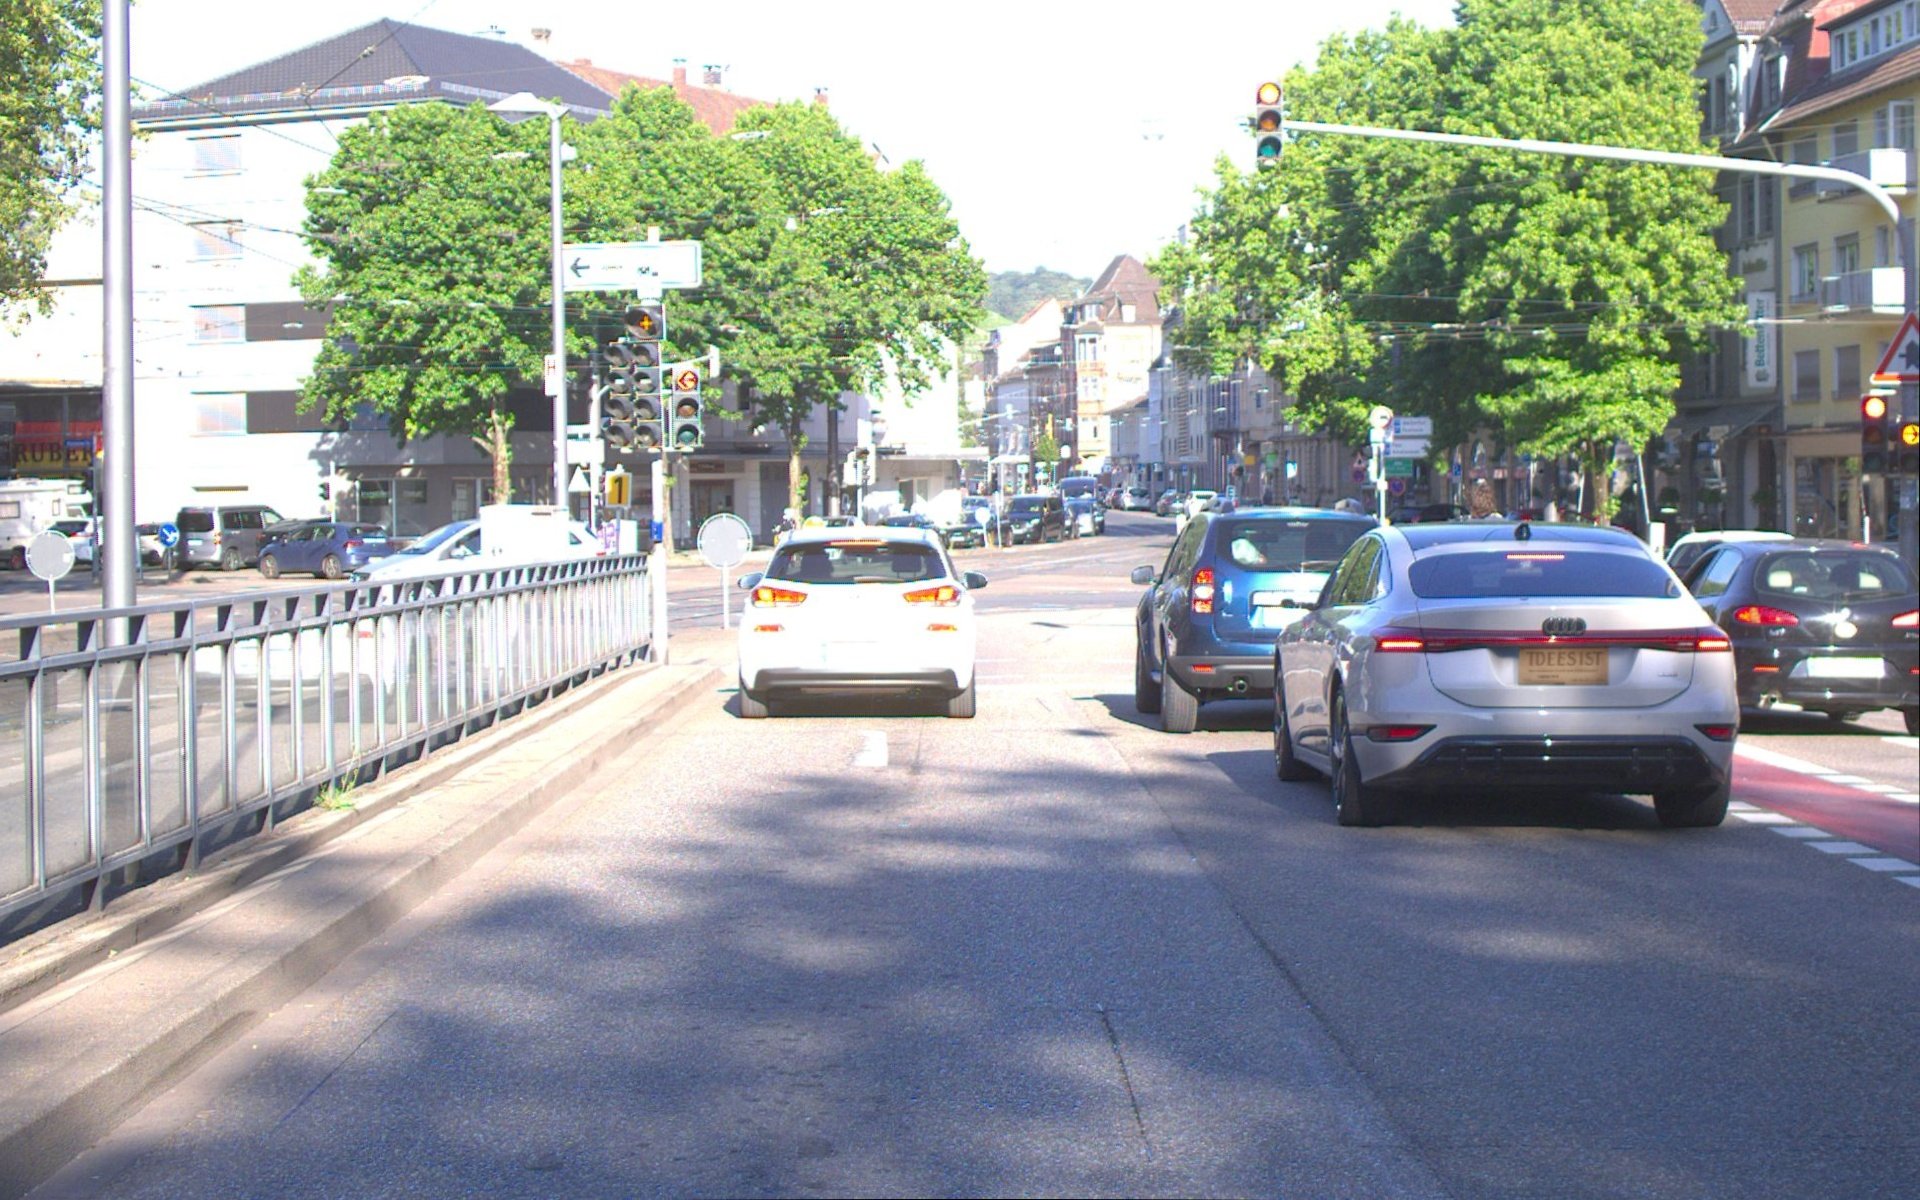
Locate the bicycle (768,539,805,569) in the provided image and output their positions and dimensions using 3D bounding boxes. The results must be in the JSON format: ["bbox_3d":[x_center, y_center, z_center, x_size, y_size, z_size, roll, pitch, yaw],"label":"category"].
[{"bbox_3d":[-5.516,-1.475,109.570,0.468,0.953,1.765,0,1,23],"label":"bicycle"}]

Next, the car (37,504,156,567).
[{"bbox_3d":[-27.278,-2.050,108.713,1.796,1.949,3.997,0,1,18],"label":"car"}]

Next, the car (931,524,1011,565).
[{"bbox_3d":[0.440,-2.063,127.982,1.796,1.505,3.996,0,1,18],"label":"car"}]

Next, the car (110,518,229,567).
[{"bbox_3d":[-24.767,-1.813,107.815,1.796,1.505,4.007,0,1,18],"label":"car"}]

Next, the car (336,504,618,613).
[{"bbox_3d":[-7.745,-0.665,55.120,4.146,1.686,1.822,0,1,-24],"label":"car"}]

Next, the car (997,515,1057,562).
[{"bbox_3d":[2.656,-2.441,135.408,1.795,1.820,3.999,0,1,10],"label":"car"}]

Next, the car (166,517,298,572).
[{"bbox_3d":[-22.382,-1.711,105.798,1.797,1.643,4.004,0,2,29],"label":"car"}]

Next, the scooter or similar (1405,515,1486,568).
[{"bbox_3d":[11.791,-1.417,83.537,1.949,1.276,0.552,1,2,41],"label":"scooter or similar"}]

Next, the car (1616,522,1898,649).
[{"bbox_3d":[10.393,-0.231,44.680,1.799,1.505,3.990,2,3,43],"label":"car"}]

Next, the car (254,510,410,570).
[{"bbox_3d":[-16.118,-1.560,88.177,3.996,1.505,1.796,1,2,40],"label":"car"}]

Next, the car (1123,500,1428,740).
[{"bbox_3d":[2.240,0.089,25.367,1.800,1.632,4.045,0,1,-1],"label":"car"}]

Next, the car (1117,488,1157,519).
[{"bbox_3d":[11.770,-6.427,228.546,2.327,2.007,4.977,0,1,-1],"label":"car"}]

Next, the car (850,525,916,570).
[{"bbox_3d":[-2.666,-1.822,119.927,1.794,1.505,3.999,0,1,6],"label":"car"}]

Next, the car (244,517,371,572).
[{"bbox_3d":[-19.920,-1.720,105.089,1.923,1.643,4.176,0,1,20],"label":"car"}]

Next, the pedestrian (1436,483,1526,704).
[{"bbox_3d":[4.469,-0.063,29.499,0.657,1.864,0.678,0,1,-1],"label":"pedestrian"}]

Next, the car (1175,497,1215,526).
[{"bbox_3d":[12.596,-4.728,184.308,1.794,1.505,4.000,0,1,-1],"label":"car"}]

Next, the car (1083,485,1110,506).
[{"bbox_3d":[10.067,-7.741,253.825,1.794,1.505,4.000,0,1,-1],"label":"car"}]

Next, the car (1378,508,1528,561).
[{"bbox_3d":[14.269,-1.904,99.636,3.986,1.505,1.800,-1,1,-6],"label":"car"}]

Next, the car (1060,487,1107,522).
[{"bbox_3d":[5.391,-4.161,149.993,1.794,1.505,4.001,0,1,-2],"label":"car"}]

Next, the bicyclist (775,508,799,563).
[{"bbox_3d":[-5.517,-2.068,109.560,0.468,1.739,0.716,0,1,23],"label":"bicyclist"}]

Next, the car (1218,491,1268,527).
[{"bbox_3d":[14.104,-4.552,171.618,2.105,1.770,4.342,0,1,-1],"label":"car"}]

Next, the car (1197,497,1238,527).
[{"bbox_3d":[13.338,-4.569,178.148,1.794,1.505,4.000,0,1,-1],"label":"car"}]

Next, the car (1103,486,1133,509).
[{"bbox_3d":[10.763,-6.991,234.004,1.794,1.505,4.000,0,1,-1],"label":"car"}]

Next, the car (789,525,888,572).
[{"bbox_3d":[-4.013,-1.698,113.938,1.726,1.505,3.871,0,1,24],"label":"car"}]

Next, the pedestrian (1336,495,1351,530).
[{"bbox_3d":[18.171,-4.125,162.934,0.648,1.645,0.650,1,0,10],"label":"pedestrian"}]

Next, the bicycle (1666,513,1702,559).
[{"bbox_3d":[17.508,-1.557,83.195,0.609,1.104,1.800,0,1,4],"label":"bicycle"}]

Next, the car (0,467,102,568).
[{"bbox_3d":[-30.423,-2.641,109.701,2.499,3.154,6.528,0,1,22],"label":"car"}]

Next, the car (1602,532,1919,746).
[{"bbox_3d":[6.127,0.235,25.759,1.800,1.434,4.045,1,1,-1],"label":"car"}]

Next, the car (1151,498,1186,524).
[{"bbox_3d":[12.326,-5.278,203.540,1.794,1.517,4.000,0,1,-1],"label":"car"}]

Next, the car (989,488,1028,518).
[{"bbox_3d":[2.425,-4.881,172.900,1.794,1.505,4.001,0,1,-2],"label":"car"}]

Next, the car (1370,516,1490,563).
[{"bbox_3d":[15.578,-2.017,113.848,3.989,1.505,1.799,-2,2,-42],"label":"car"}]

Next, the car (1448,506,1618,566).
[{"bbox_3d":[14.860,-1.662,89.277,3.986,1.505,1.801,-1,1,-9],"label":"car"}]

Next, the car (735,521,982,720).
[{"bbox_3d":[-0.783,0.108,27.224,1.808,1.447,4.000,0,1,-1],"label":"car"}]

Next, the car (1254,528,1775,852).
[{"bbox_3d":[2.751,0.362,18.199,1.929,1.467,4.855,0,1,-1],"label":"car"}]
